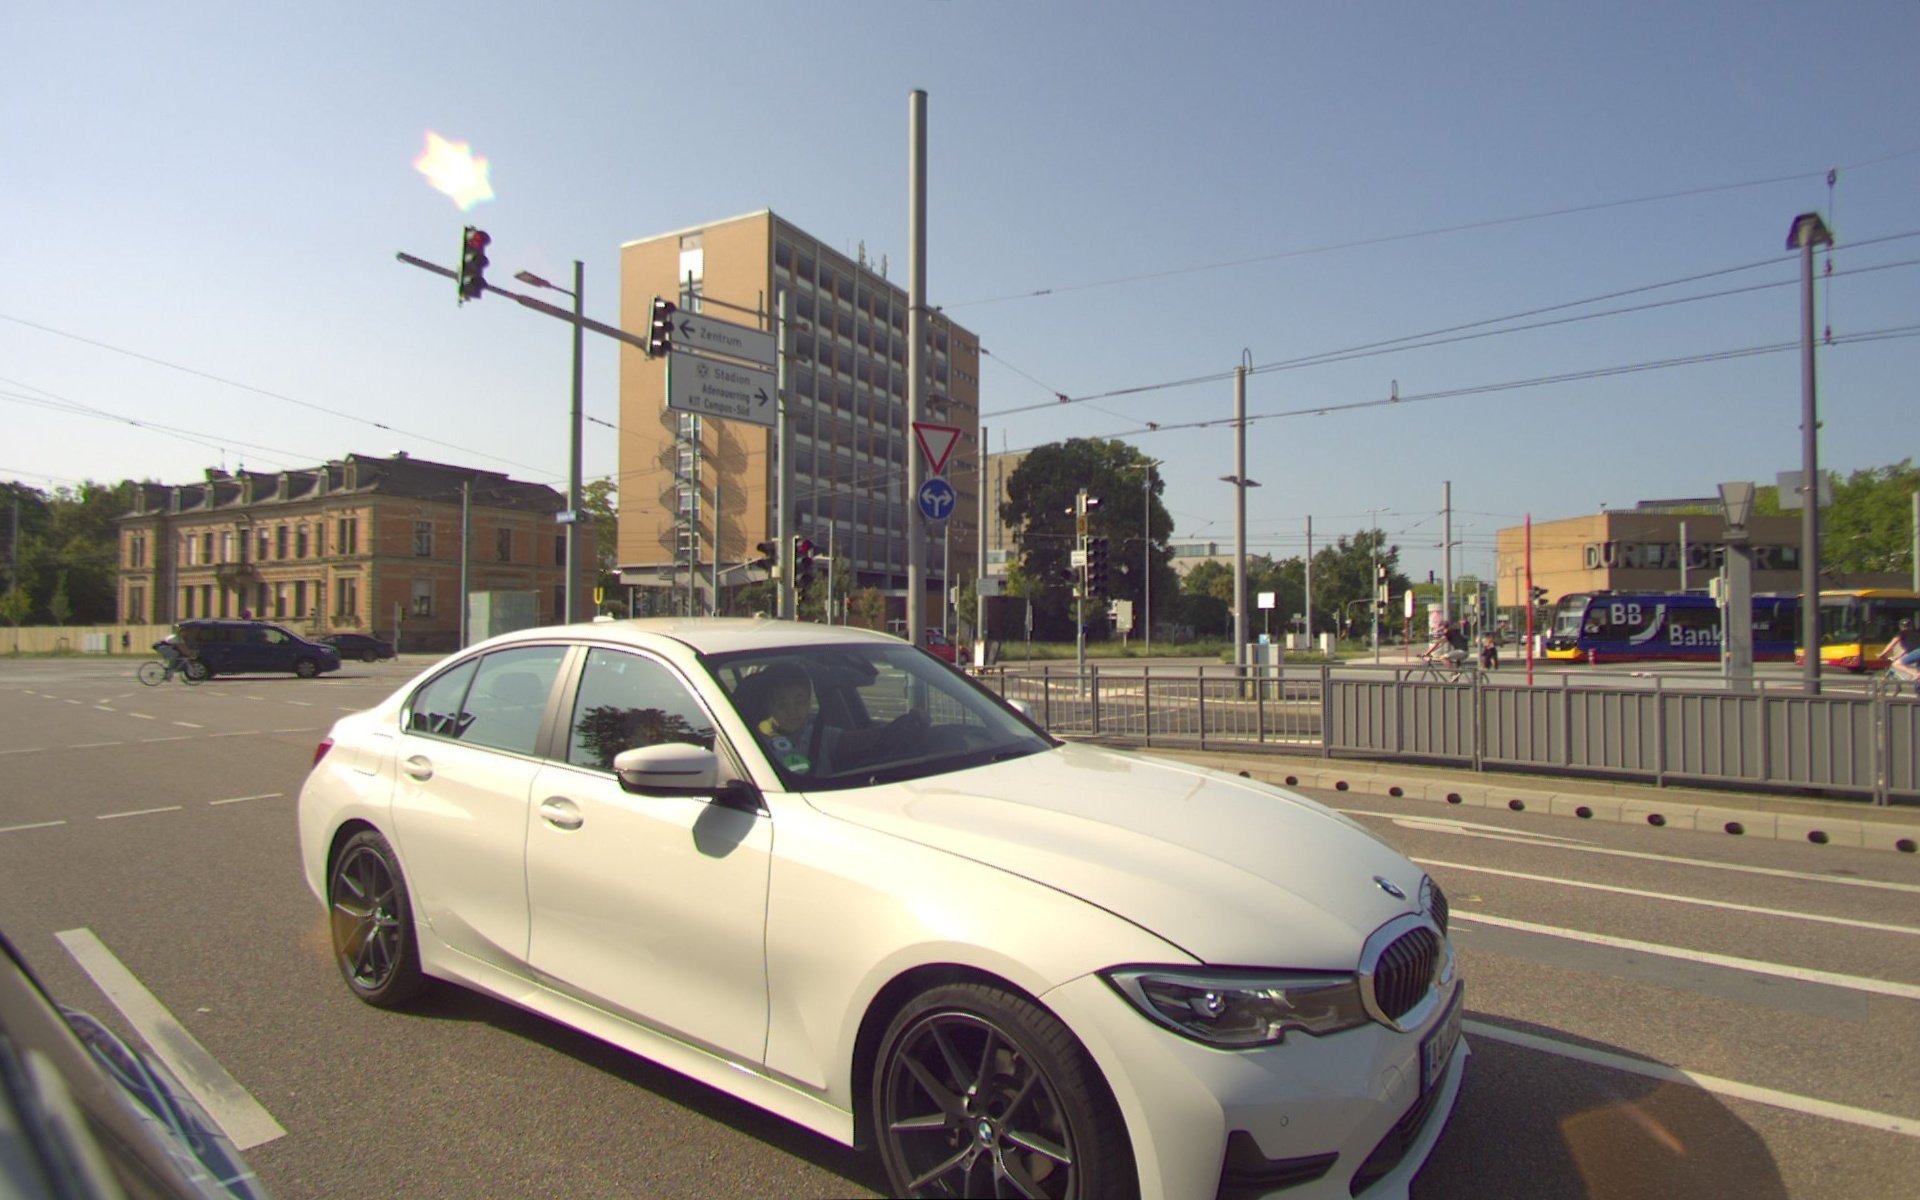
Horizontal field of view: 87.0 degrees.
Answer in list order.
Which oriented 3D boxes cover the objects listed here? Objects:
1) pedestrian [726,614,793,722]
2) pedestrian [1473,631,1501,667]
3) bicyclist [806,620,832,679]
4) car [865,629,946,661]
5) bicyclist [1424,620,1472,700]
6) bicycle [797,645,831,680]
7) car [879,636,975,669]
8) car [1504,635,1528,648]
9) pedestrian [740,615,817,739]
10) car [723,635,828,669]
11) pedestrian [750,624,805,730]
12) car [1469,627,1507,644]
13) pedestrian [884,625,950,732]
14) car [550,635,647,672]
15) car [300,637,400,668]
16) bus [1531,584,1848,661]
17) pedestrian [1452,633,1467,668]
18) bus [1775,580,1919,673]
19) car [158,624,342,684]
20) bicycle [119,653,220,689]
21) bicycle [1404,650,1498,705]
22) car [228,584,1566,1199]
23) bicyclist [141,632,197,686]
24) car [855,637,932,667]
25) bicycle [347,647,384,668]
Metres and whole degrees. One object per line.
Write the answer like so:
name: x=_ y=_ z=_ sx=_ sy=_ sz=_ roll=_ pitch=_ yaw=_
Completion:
pedestrian: x=-3.450 y=1.167 z=17.416 sx=0.822 sy=1.802 sz=0.730 roll=5 pitch=-5 yaw=-42
pedestrian: x=19.642 y=1.824 z=37.714 sx=0.549 sy=1.302 sz=0.769 roll=0 pitch=-2 yaw=-6
bicyclist: x=-4.822 y=1.698 z=34.603 sx=0.571 sy=1.989 sz=0.809 roll=1 pitch=-3 yaw=-35
car: x=-3.112 y=2.571 z=57.812 sx=4.217 sy=1.720 sz=1.957 roll=1 pitch=-5 yaw=-33
bicyclist: x=10.489 y=1.273 z=21.763 sx=0.790 sy=1.669 sz=0.581 roll=-2 pitch=-3 yaw=41
bicycle: x=-5.053 y=2.134 z=34.900 sx=0.371 sy=1.174 sz=1.864 roll=1 pitch=-3 yaw=-34
car: x=-1.480 y=2.348 z=45.629 sx=3.932 sy=1.426 sz=1.808 roll=1 pitch=-3 yaw=-33
car: x=64.296 y=4.784 z=117.025 sx=3.471 sy=1.462 sz=1.495 roll=2 pitch=-3 yaw=-44
pedestrian: x=-2.592 y=1.090 z=14.473 sx=0.651 sy=1.706 sz=0.805 roll=-2 pitch=-5 yaw=41
car: x=-8.269 y=2.301 z=45.413 sx=4.276 sy=1.463 sz=1.808 roll=1 pitch=-3 yaw=-30
pedestrian: x=-2.834 y=1.188 z=15.712 sx=0.467 sy=1.610 sz=0.626 roll=-2 pitch=-5 yaw=39
car: x=46.745 y=3.162 z=89.549 sx=3.940 sy=1.519 sz=1.784 roll=2 pitch=-3 yaw=-44
pedestrian: x=-0.642 y=1.168 z=15.144 sx=0.548 sy=1.560 sz=0.799 roll=-2 pitch=-5 yaw=42
car: x=-14.736 y=2.167 z=41.275 sx=3.495 sy=1.446 sz=1.809 roll=1 pitch=-3 yaw=-27
car: x=-30.806 y=2.646 z=51.227 sx=4.251 sy=1.477 sz=1.679 roll=1 pitch=-5 yaw=-30
bus: x=34.195 y=1.087 z=47.670 sx=13.111 sy=3.445 sz=3.229 roll=0 pitch=-2 yaw=-6
pedestrian: x=25.775 y=2.594 z=52.196 sx=0.551 sy=1.782 sz=0.403 roll=0 pitch=-2 yaw=-3
bus: x=37.309 y=0.976 z=37.126 sx=13.107 sy=3.203 sz=3.230 roll=0 pitch=-2 yaw=-7
car: x=-23.180 y=1.745 z=33.290 sx=4.690 sy=1.842 sz=1.809 roll=1 pitch=-3 yaw=-26
bicycle: x=-22.423 y=2.009 z=28.739 sx=2.159 sy=0.997 sz=0.531 roll=2 pitch=-2 yaw=-25
bicycle: x=10.516 y=1.650 z=21.721 sx=1.745 sy=1.118 sz=0.397 roll=-2 pitch=-3 yaw=40
car: x=-0.636 y=0.742 z=3.681 sx=4.762 sy=1.438 sz=1.794 roll=-2 pitch=0 yaw=35
bicyclist: x=-22.437 y=1.670 z=28.720 sx=0.955 sy=1.486 sz=1.091 roll=1 pitch=-2 yaw=-23
car: x=-4.013 y=3.109 z=61.033 sx=4.217 sy=1.720 sz=1.931 roll=1 pitch=-5 yaw=-32
bicycle: x=-33.908 y=3.264 z=57.703 sx=1.742 sy=1.203 sz=0.402 roll=1 pitch=-2 yaw=-16
